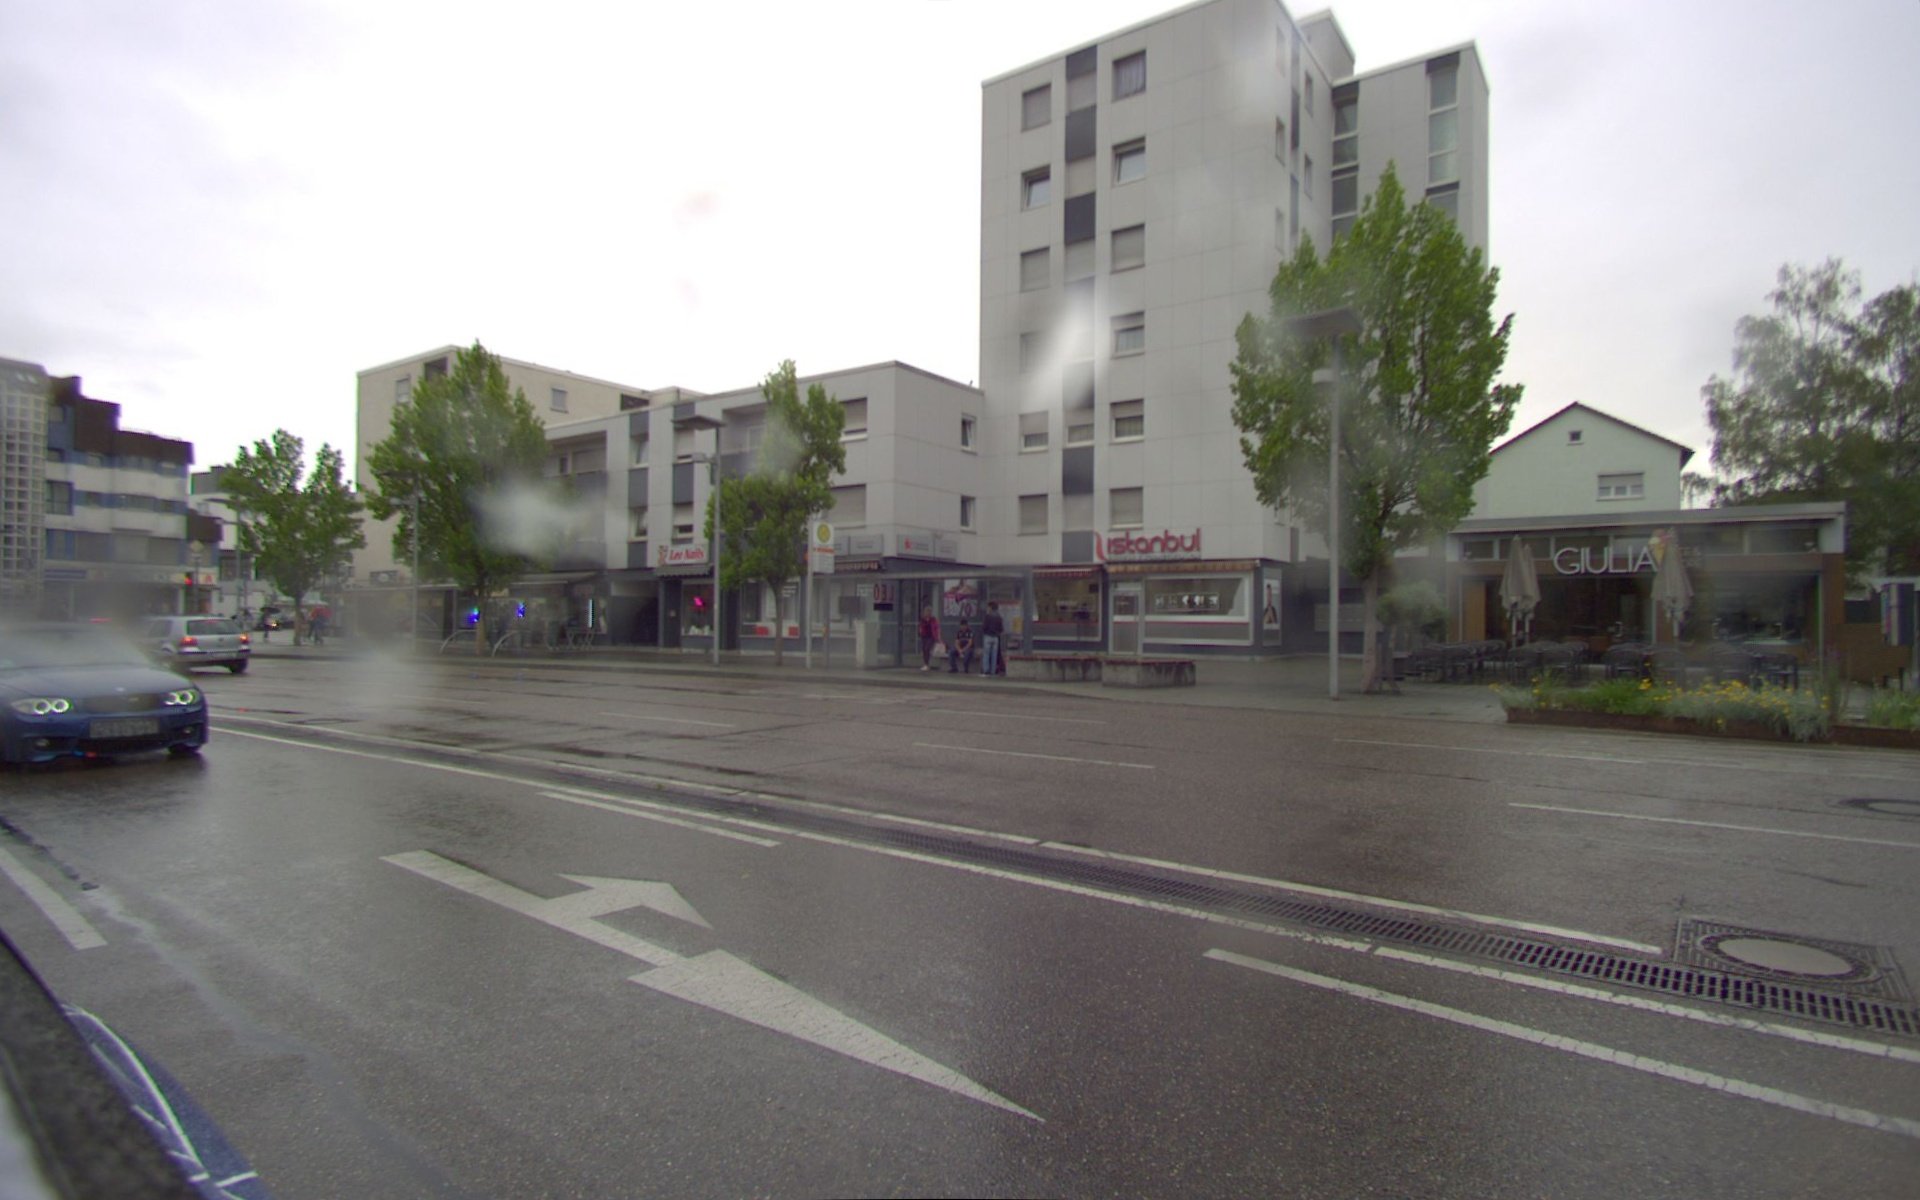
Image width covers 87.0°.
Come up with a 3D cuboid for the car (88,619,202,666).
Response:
[{"bbox_3d":[-26.631,1.384,33.054,3.987,1.438,1.744,-2,-2,33],"label":"car"}]

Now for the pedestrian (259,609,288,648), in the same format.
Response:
[{"bbox_3d":[-34.628,1.444,51.030,0.975,1.929,0.895,-1,-2,34],"label":"pedestrian"}]

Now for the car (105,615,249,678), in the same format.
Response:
[{"bbox_3d":[-19.889,1.142,25.661,4.093,1.477,1.685,-1,-3,34],"label":"car"}]

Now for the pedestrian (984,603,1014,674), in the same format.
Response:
[{"bbox_3d":[0.935,0.907,24.180,0.479,1.672,0.529,-1,-2,41],"label":"pedestrian"}]

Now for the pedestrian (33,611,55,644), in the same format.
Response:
[{"bbox_3d":[-50.591,1.508,55.890,0.584,1.756,0.828,-1,-1,40],"label":"pedestrian"}]

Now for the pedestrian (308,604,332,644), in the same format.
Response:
[{"bbox_3d":[-32.764,1.208,51.824,0.862,2.029,0.752,-1,-2,33],"label":"pedestrian"}]

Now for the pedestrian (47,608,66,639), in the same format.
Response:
[{"bbox_3d":[-51.266,1.338,57.443,0.672,1.756,0.587,0,-1,-30],"label":"pedestrian"}]

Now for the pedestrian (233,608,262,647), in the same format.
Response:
[{"bbox_3d":[-35.355,1.367,50.206,0.976,1.929,0.895,-2,-2,36],"label":"pedestrian"}]

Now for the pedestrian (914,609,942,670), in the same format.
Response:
[{"bbox_3d":[-0.797,0.985,25.559,0.609,1.516,0.534,0,-1,12],"label":"pedestrian"}]

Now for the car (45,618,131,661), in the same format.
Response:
[{"bbox_3d":[-31.989,1.400,37.081,4.886,1.438,1.739,-1,-1,42],"label":"car"}]

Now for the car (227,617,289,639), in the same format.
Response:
[{"bbox_3d":[-56.955,2.226,82.185,1.732,1.733,3.874,0,-1,16],"label":"car"}]

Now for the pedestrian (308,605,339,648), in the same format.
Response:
[{"bbox_3d":[-30.139,1.264,47.917,0.975,2.029,0.895,-1,-2,34],"label":"pedestrian"}]

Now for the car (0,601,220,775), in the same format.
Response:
[{"bbox_3d":[-9.776,0.852,10.834,3.899,1.555,1.659,-2,-2,32],"label":"car"}]

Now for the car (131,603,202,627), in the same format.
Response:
[{"bbox_3d":[-58.600,1.102,74.813,1.732,1.733,3.874,0,-1,16],"label":"car"}]

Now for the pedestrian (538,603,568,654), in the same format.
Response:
[{"bbox_3d":[-16.321,1.128,40.585,0.862,2.029,0.751,-2,-2,37],"label":"pedestrian"}]

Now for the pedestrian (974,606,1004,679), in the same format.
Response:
[{"bbox_3d":[0.682,0.983,23.632,0.535,1.672,0.473,-1,-2,36],"label":"pedestrian"}]

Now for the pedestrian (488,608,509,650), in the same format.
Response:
[{"bbox_3d":[-19.627,1.241,43.033,0.679,1.763,0.543,-2,-2,37],"label":"pedestrian"}]

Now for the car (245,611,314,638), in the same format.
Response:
[{"bbox_3d":[-52.474,1.891,78.158,1.975,2.029,4.591,0,-1,5],"label":"car"}]

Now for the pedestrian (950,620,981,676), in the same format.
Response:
[{"bbox_3d":[0.131,1.165,24.924,0.578,1.363,0.529,-1,-2,41],"label":"pedestrian"}]

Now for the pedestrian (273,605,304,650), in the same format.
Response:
[{"bbox_3d":[-30.970,1.277,46.659,0.975,2.029,0.895,-1,-2,34],"label":"pedestrian"}]

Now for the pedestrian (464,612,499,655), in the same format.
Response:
[{"bbox_3d":[-18.949,1.325,40.084,0.725,1.658,0.999,-1,-1,34],"label":"pedestrian"}]
